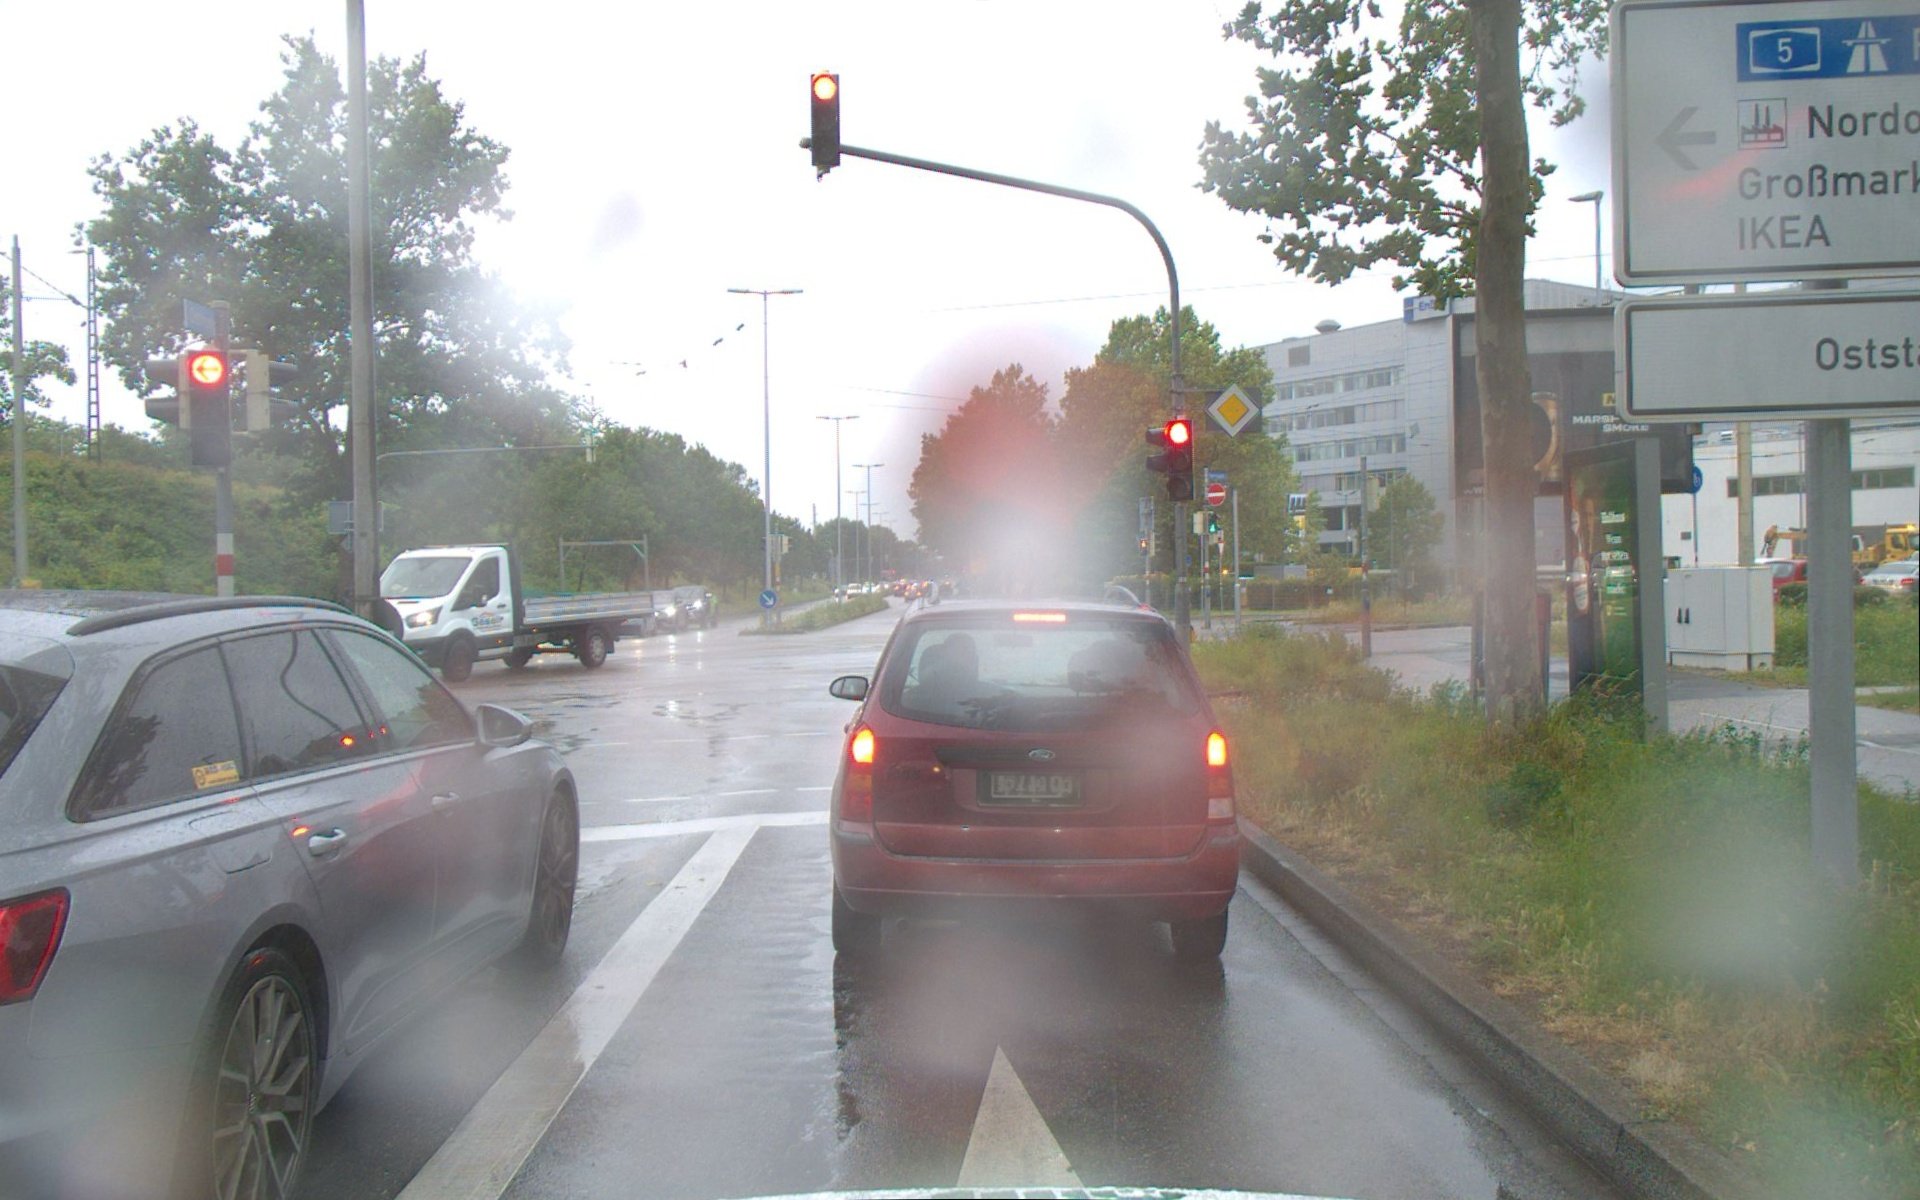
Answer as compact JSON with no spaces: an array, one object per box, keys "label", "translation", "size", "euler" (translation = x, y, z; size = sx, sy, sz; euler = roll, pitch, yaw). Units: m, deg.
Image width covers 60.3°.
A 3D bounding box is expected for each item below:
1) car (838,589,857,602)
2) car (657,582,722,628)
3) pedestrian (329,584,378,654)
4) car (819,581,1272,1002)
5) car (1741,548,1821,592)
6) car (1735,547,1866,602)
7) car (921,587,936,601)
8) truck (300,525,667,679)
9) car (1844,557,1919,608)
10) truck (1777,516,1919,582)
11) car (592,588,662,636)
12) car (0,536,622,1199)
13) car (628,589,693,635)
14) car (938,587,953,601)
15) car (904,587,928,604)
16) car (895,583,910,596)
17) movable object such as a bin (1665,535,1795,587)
[{"label":"car","translation":[-14.705,-0.609,216.340],"size":[2.050,1.554,4.193],"euler":[-1,0,2]},{"label":"car","translation":[-11.604,0.190,71.244],"size":[2.024,1.851,5.539],"euler":[-2,1,-2]},{"label":"pedestrian","translation":[-16.652,0.509,45.442],"size":[1.083,1.879,1.127],"euler":[-1,0,-13]},{"label":"car","translation":[0.256,0.673,7.805],"size":[1.609,1.490,3.731],"euler":[1,0,-2]},{"label":"car","translation":[39.445,-1.447,79.445],"size":[3.960,2.049,1.972],"euler":[-1,0,-39]},{"label":"car","translation":[23.706,-0.705,46.627],"size":[3.768,1.517,1.660],"euler":[0,0,-33]},{"label":"car","translation":[-3.659,-0.736,194.110],"size":[1.663,1.554,3.846],"euler":[-1,0,0]},{"label":"truck","translation":[-8.229,0.000,29.586],"size":[2.425,2.406,6.864],"euler":[-1,0,24]},{"label":"car","translation":[29.573,-0.557,51.249],"size":[4.774,1.517,1.904],"euler":[-1,0,-35]},{"label":"truck","translation":[52.800,-2.949,97.370],"size":[3.292,3.568,7.789],"euler":[-2,0,-36]},{"label":"car","translation":[-11.229,0.370,55.981],"size":[1.605,1.499,3.964],"euler":[-2,1,-1]},{"label":"car","translation":[-2.298,0.669,4.844],"size":[1.733,1.601,4.819],"euler":[1,0,-2]},{"label":"car","translation":[-11.361,0.452,63.062],"size":[1.727,1.614,4.811],"euler":[-2,0,-2]},{"label":"car","translation":[-1.673,-0.694,190.372],"size":[1.636,1.554,3.846],"euler":[-1,0,1]},{"label":"car","translation":[-4.289,-0.465,163.077],"size":[2.103,1.554,4.193],"euler":[-1,0,1]},{"label":"car","translation":[-7.039,-1.238,202.069],"size":[1.663,1.554,3.846],"euler":[-1,0,1]},{"label":"movable object such as a bin","translation":[48.347,-2.422,103.982],"size":[3.292,3.048,6.634],"euler":[-2,0,-36]}]
